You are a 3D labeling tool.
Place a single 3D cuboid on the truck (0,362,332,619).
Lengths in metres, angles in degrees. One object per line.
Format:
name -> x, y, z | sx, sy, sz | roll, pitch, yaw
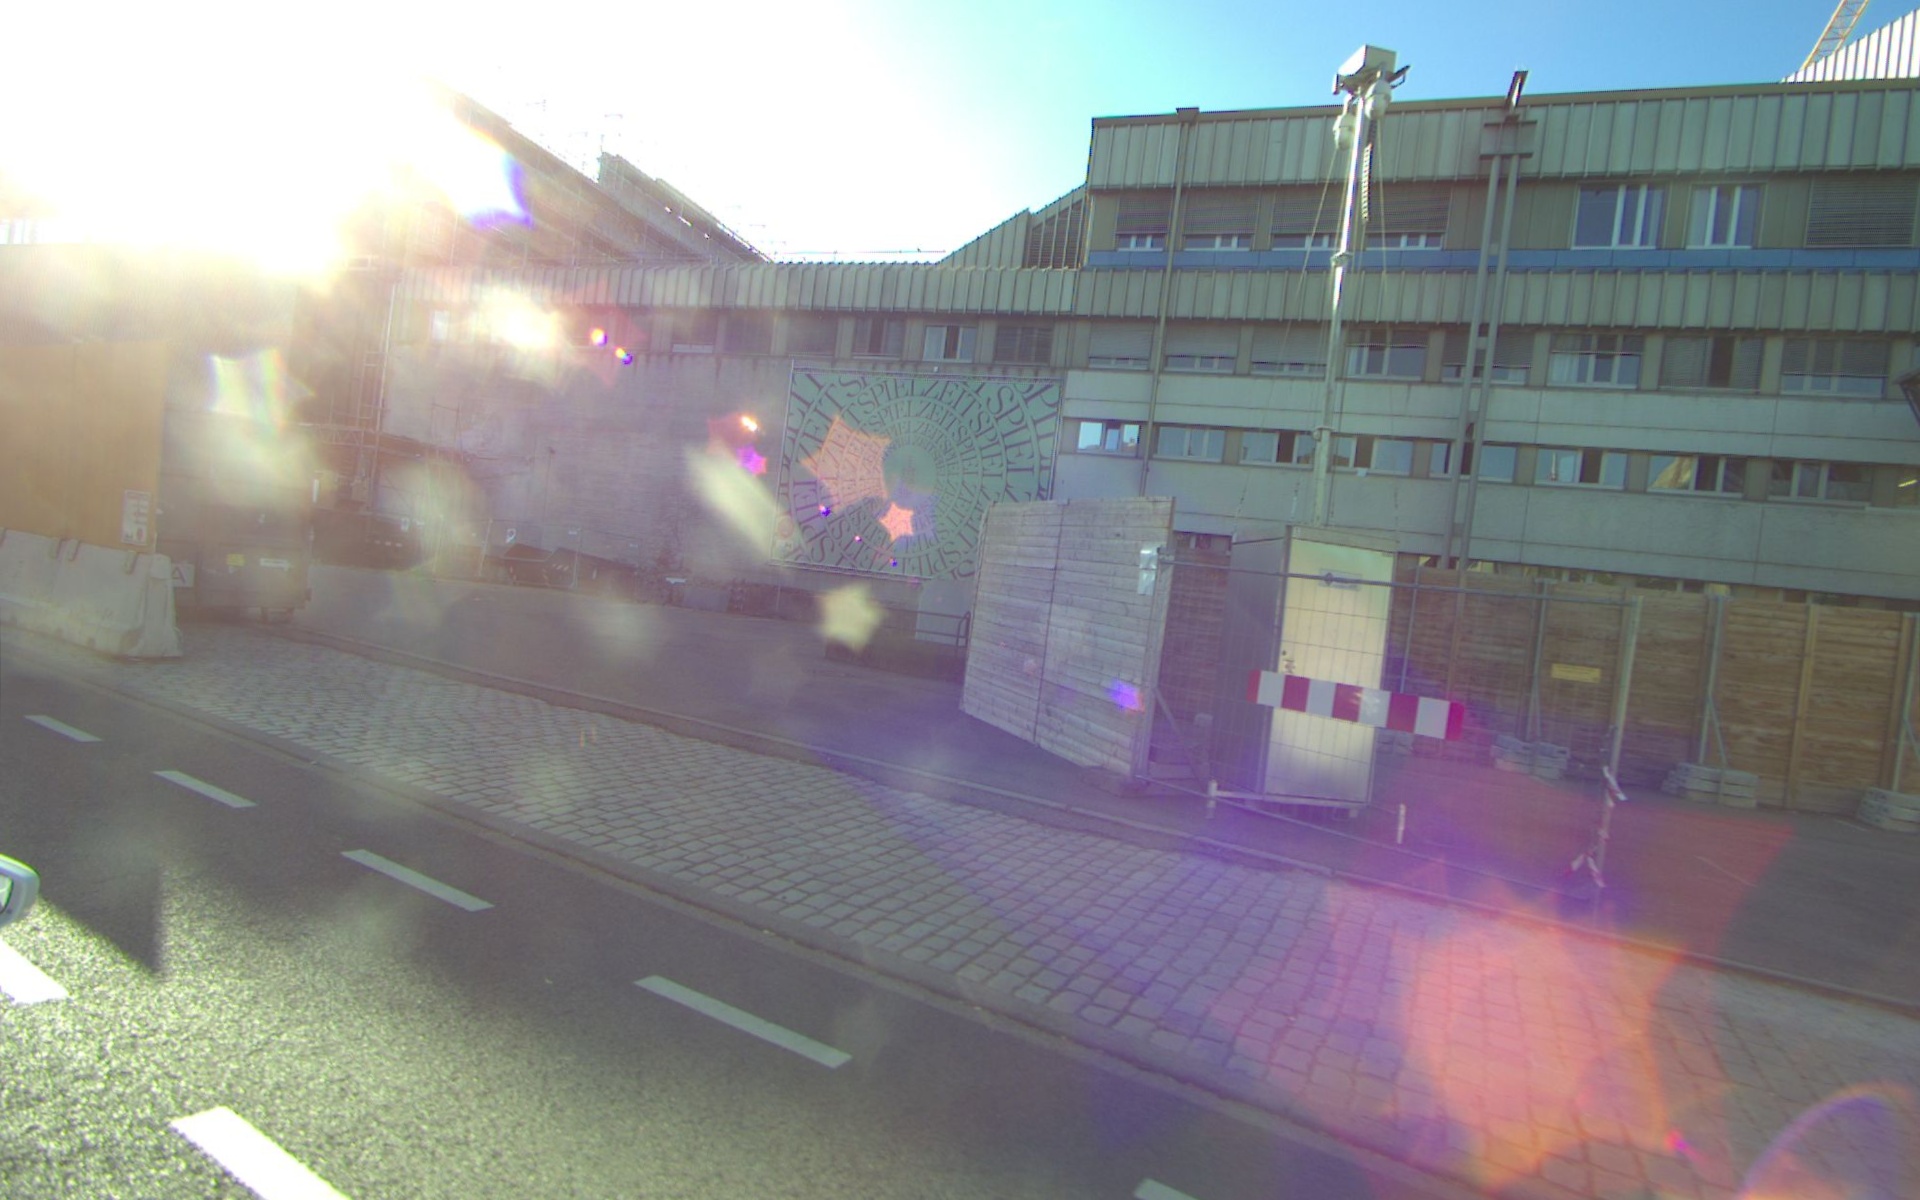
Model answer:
truck -> -11.635, -1.528, 14.132 | 5.415, 2.948, 2.520 | 7, 3, 31
